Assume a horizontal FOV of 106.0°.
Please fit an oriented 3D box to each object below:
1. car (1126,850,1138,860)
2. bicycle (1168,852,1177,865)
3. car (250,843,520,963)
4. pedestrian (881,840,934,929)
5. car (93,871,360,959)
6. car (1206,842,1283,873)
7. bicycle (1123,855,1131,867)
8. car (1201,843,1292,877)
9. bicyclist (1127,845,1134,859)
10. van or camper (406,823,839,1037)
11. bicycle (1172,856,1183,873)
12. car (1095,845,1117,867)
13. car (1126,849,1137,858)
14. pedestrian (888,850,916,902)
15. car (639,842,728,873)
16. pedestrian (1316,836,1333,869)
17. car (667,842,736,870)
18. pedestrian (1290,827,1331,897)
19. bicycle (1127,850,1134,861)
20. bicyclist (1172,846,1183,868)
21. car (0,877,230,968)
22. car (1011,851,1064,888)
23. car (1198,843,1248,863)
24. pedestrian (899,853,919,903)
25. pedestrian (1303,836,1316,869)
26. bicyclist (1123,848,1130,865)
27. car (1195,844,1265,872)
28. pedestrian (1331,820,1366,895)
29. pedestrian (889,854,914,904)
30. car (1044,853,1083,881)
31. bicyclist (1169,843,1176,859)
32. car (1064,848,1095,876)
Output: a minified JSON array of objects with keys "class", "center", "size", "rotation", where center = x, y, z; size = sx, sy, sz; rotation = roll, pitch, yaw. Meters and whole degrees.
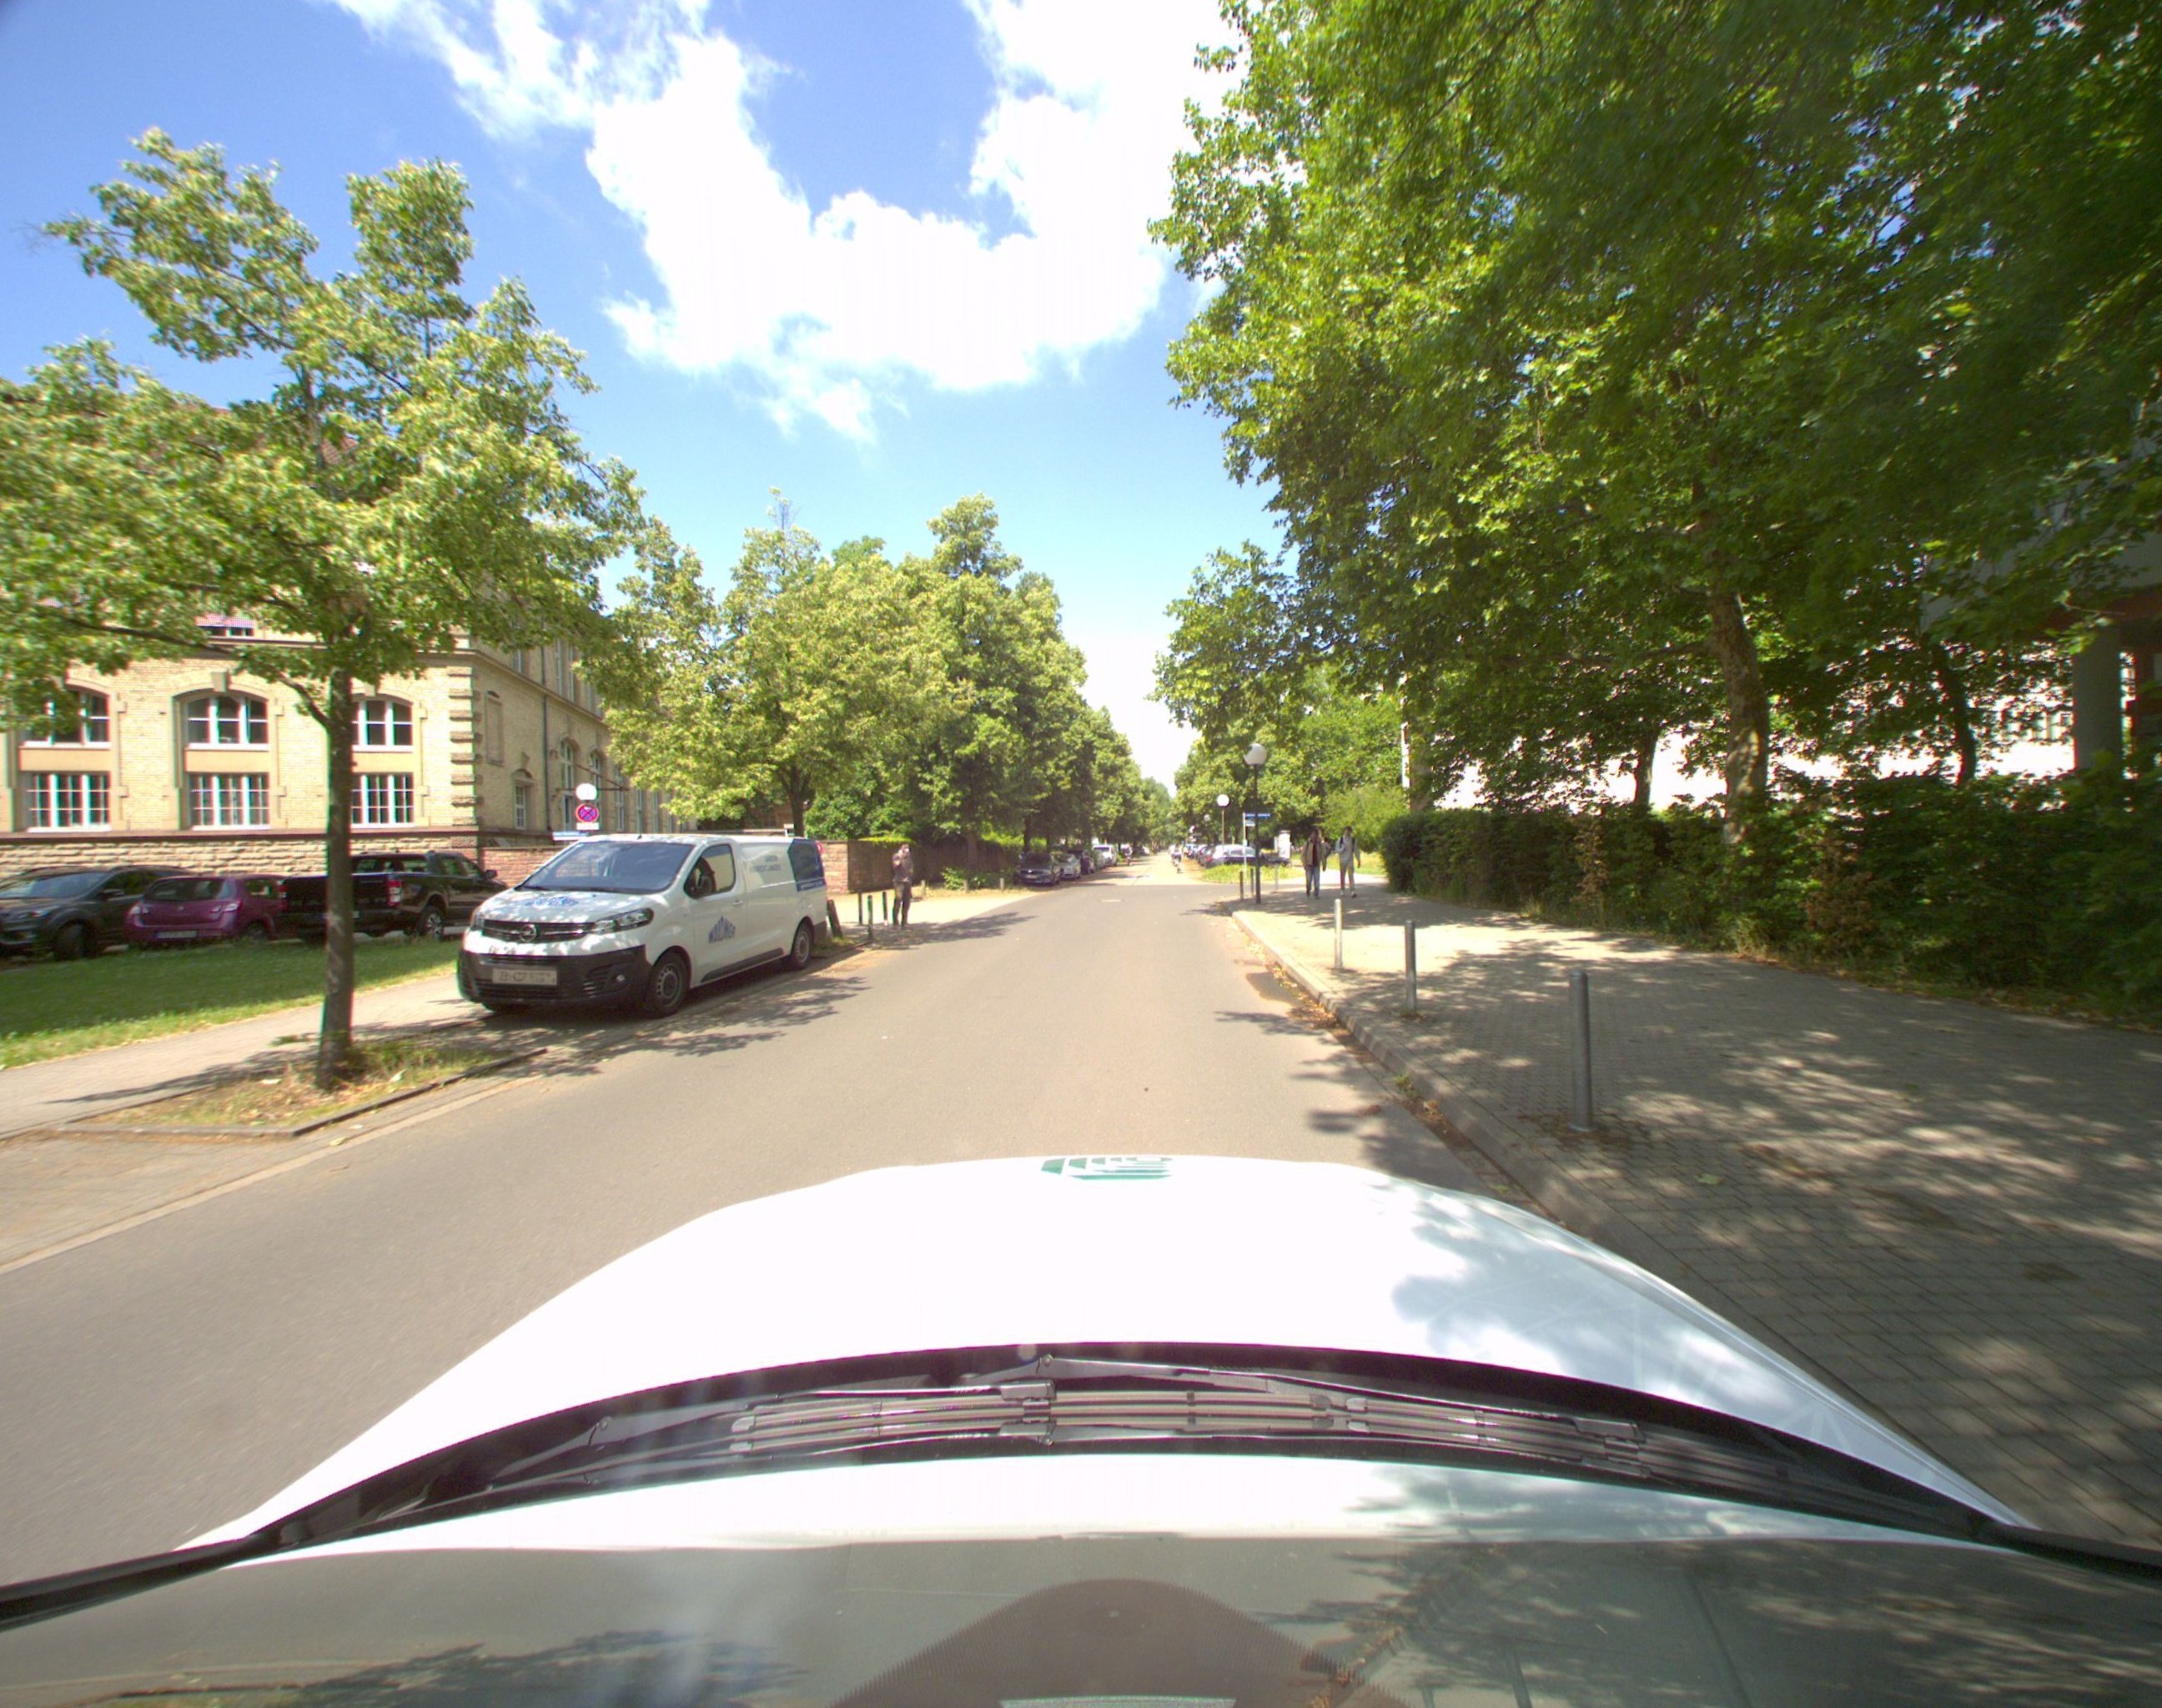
[{"class":"car","center":[7.310,0.061,116.396],"size":[1.608,1.365,4.005],"rotation":[-1,0,4]},{"class":"bicycle","center":[7.563,0.386,67.367],"size":[0.611,1.001,1.425],"rotation":[-2,0,5]},{"class":"car","center":[-13.356,0.809,16.169],"size":[2.181,1.925,5.155],"rotation":[-2,0,-18]},{"class":"pedestrian","center":[-3.707,0.641,17.428],"size":[0.718,1.857,0.795],"rotation":[-1,0,22]},{"class":"car","center":[-15.825,1.040,15.408],"size":[1.821,1.324,3.746],"rotation":[-2,0,-17]},{"class":"car","center":[9.459,0.209,47.440],"size":[4.235,1.588,1.814],"rotation":[-2,0,6]},{"class":"bicycle","center":[3.967,0.580,70.365],"size":[0.575,1.001,1.425],"rotation":[-1,0,5]},{"class":"car","center":[8.608,0.300,42.586],"size":[4.463,1.525,1.814],"rotation":[-2,0,6]},{"class":"bicyclist","center":[4.895,-0.211,80.316],"size":[0.605,1.296,0.612],"rotation":[-1,0,5]},{"class":"van or camper","center":[-4.987,0.676,10.103],"size":[1.944,1.923,5.427],"rotation":[0,0,4]},{"class":"bicycle","center":[5.884,0.632,49.566],"size":[0.611,1.001,1.425],"rotation":[-1,0,5]},{"class":"car","center":[2.109,0.145,68.127],"size":[1.608,1.815,4.006],"rotation":[-1,0,5]},{"class":"car","center":[7.880,-0.123,126.194],"size":[1.608,1.365,4.567],"rotation":[-1,0,4]},{"class":"pedestrian","center":[-5.910,0.711,26.865],"size":[0.632,1.663,0.596],"rotation":[-1,0,-43]},{"class":"car","center":[-21.346,0.160,43.751],"size":[4.117,1.517,1.738],"rotation":[-2,0,-33]},{"class":"pedestrian","center":[13.271,-0.092,44.416],"size":[0.816,1.755,0.631],"rotation":[-1,0,11]},{"class":"car","center":[-24.540,0.120,52.759],"size":[3.866,1.621,1.745],"rotation":[-2,0,-20]},{"class":"pedestrian","center":[5.895,0.201,20.914],"size":[0.817,1.755,0.842],"rotation":[-2,0,5]},{"class":"bicycle","center":[4.901,0.138,80.307],"size":[0.611,1.001,1.425],"rotation":[-1,0,5]},{"class":"bicyclist","center":[5.869,0.180,49.499],"size":[0.606,1.296,0.612],"rotation":[-1,0,5]},{"class":"car","center":[-17.985,1.134,14.675],"size":[1.821,1.324,4.139],"rotation":[1,0,-17]},{"class":"car","center":[-1.884,0.650,36.668],"size":[1.751,1.522,4.117],"rotation":[-1,0,5]},{"class":"car","center":[12.586,-0.101,72.468],"size":[4.235,1.588,1.923],"rotation":[-2,0,6]},{"class":"pedestrian","center":[-5.559,0.767,26.322],"size":[0.497,1.585,0.489],"rotation":[-1,0,-27]},{"class":"pedestrian","center":[12.583,-0.094,44.776],"size":[0.597,1.755,0.631],"rotation":[-1,0,12]},{"class":"bicyclist","center":[3.960,0.207,70.307],"size":[0.560,1.498,0.829],"rotation":[-1,0,5]},{"class":"car","center":[9.512,0.242,52.275],"size":[4.235,1.588,1.814],"rotation":[-2,0,6]},{"class":"pedestrian","center":[6.830,0.091,20.808],"size":[0.668,1.872,0.794],"rotation":[-1,0,7]},{"class":"pedestrian","center":[-5.630,0.787,25.599],"size":[0.588,1.527,0.489],"rotation":[-1,0,-35]},{"class":"car","center":[-0.901,0.681,44.260],"size":[1.608,1.387,4.006],"rotation":[-1,0,5]},{"class":"bicyclist","center":[7.539,-0.218,67.364],"size":[0.520,1.296,0.612],"rotation":[-1,0,5]},{"class":"car","center":[-0.037,0.500,52.802],"size":[1.608,1.679,4.006],"rotation":[-1,0,5]}]
